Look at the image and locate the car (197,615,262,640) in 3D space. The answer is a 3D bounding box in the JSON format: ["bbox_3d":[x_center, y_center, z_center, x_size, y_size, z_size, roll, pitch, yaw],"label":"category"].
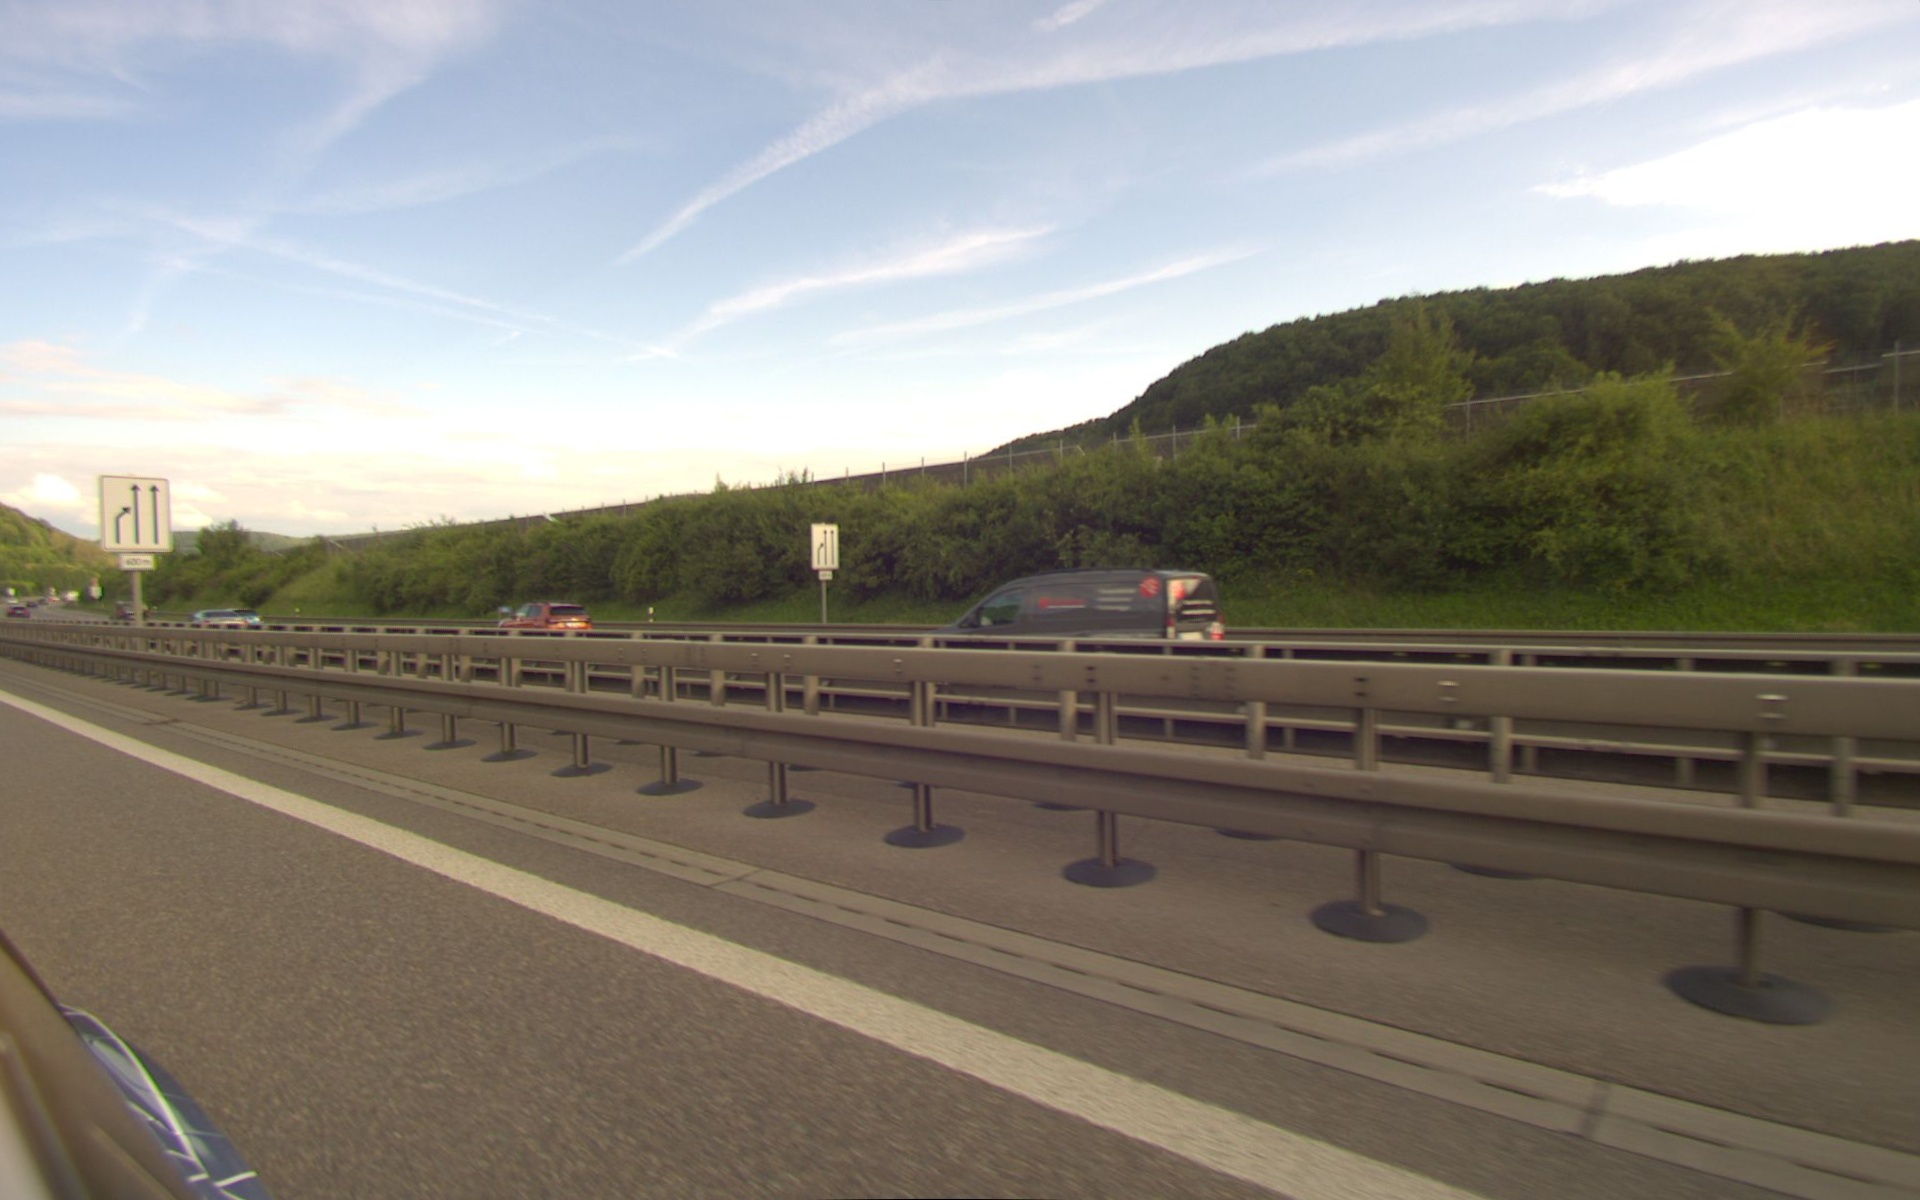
[{"bbox_3d":[-40.836,1.528,56.548,4.352,1.364,1.973,-1,-2,40],"label":"car"}]

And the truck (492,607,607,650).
[{"bbox_3d":[-13.785,0.959,33.901,3.943,1.364,1.973,-1,-2,40],"label":"truck"}]

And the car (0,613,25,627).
[{"bbox_3d":[-103.668,2.147,110.379,4.583,1.441,1.974,0,0,40],"label":"car"}]

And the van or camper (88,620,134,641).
[{"bbox_3d":[-71.036,2.532,84.638,5.449,1.673,1.973,-1,-2,40],"label":"van or camper"}]

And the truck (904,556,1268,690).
[{"bbox_3d":[1.668,0.336,14.408,4.839,1.606,1.975,-1,-2,38],"label":"truck"}]

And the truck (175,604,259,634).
[{"bbox_3d":[-32.277,0.835,43.958,3.995,1.231,1.974,-1,-2,39],"label":"truck"}]
